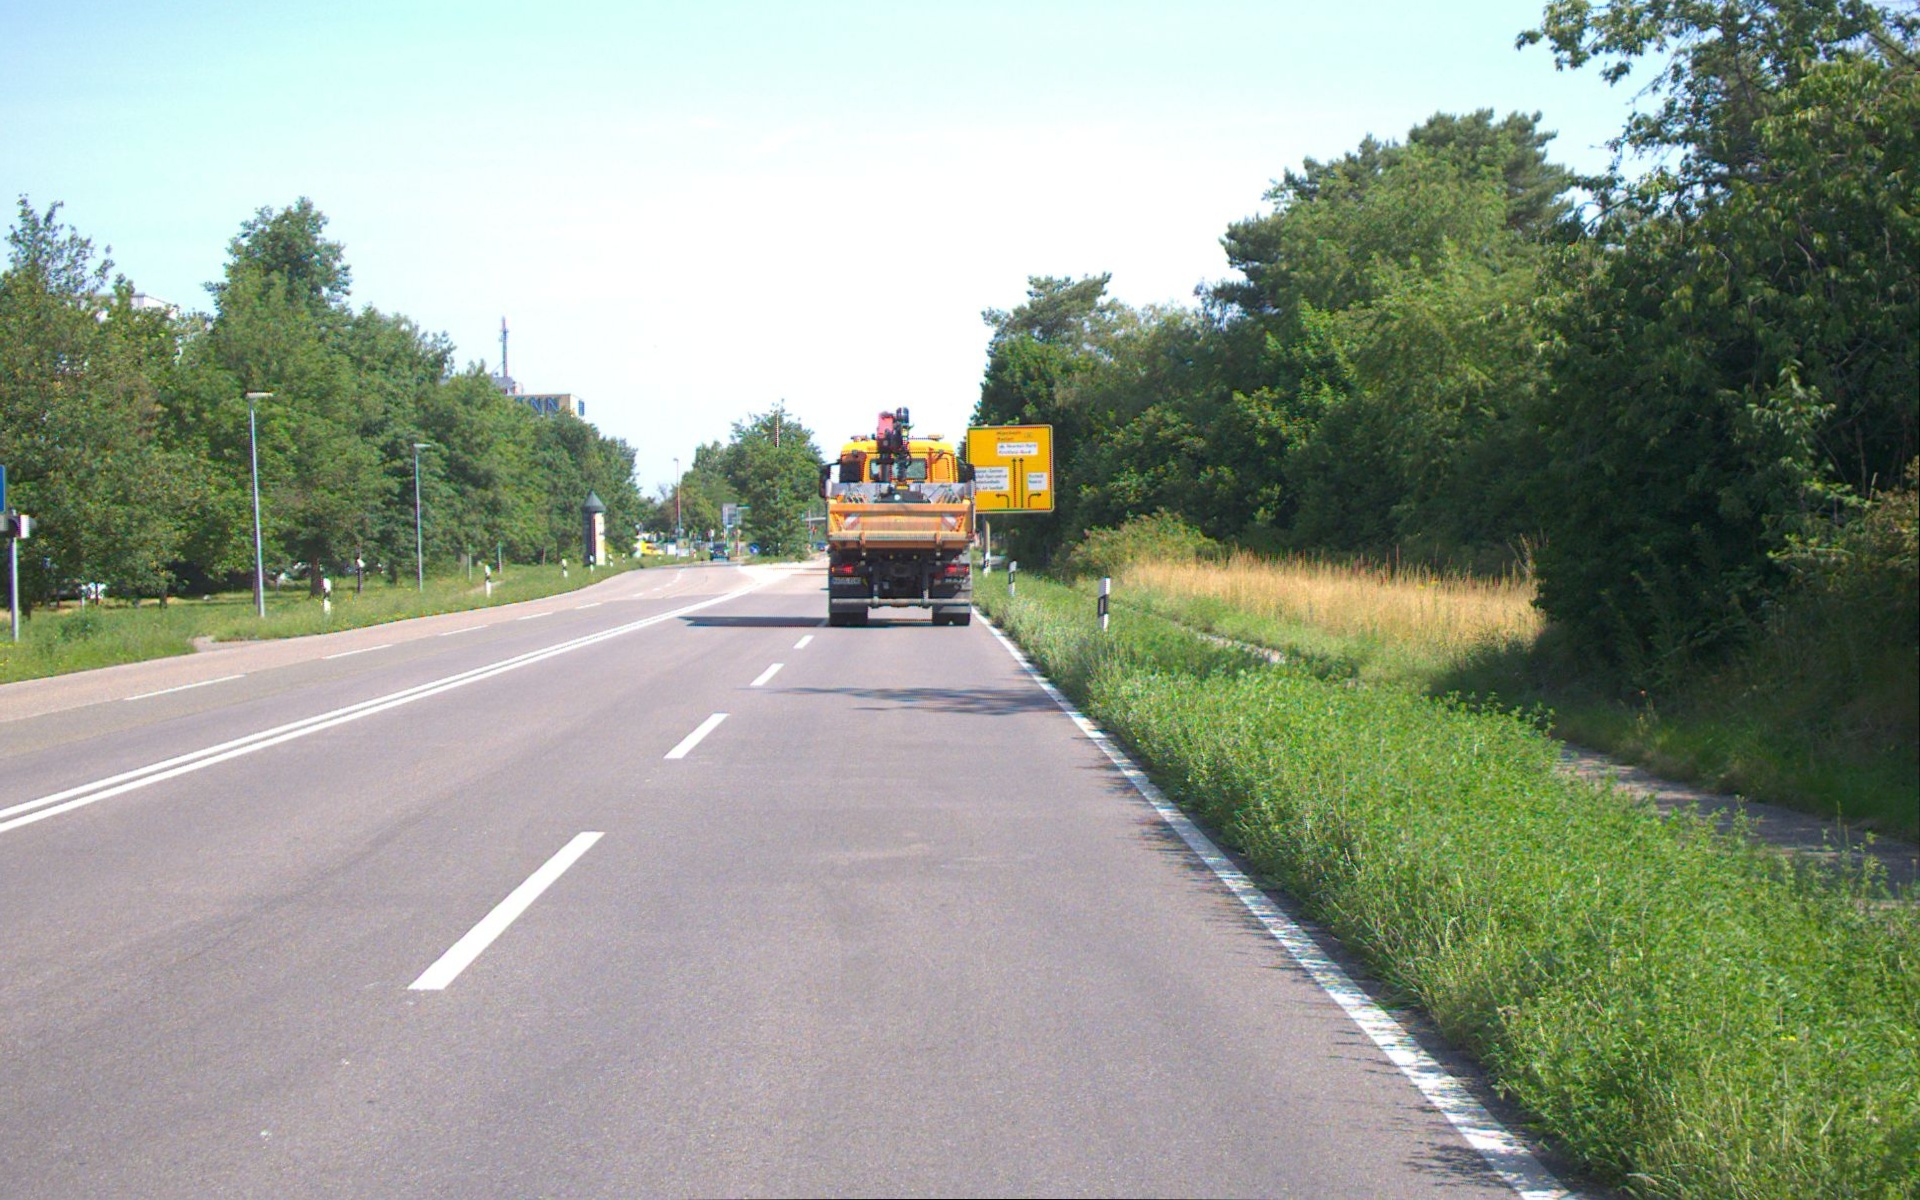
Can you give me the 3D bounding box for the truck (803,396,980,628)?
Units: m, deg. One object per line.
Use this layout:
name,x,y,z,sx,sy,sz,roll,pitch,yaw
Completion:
truck,-1.323,-1.548,61.790,2.871,3.867,7.401,1,1,-3

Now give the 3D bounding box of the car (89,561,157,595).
car,-38.000,-1.018,156.128,1.993,1.432,4.610,-1,1,-1

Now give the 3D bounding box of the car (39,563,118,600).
car,-37.437,-0.802,146.170,1.993,1.432,4.955,-1,1,1

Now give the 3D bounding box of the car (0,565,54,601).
car,-40.032,-0.721,145.550,1.993,1.432,4.955,-1,1,1
